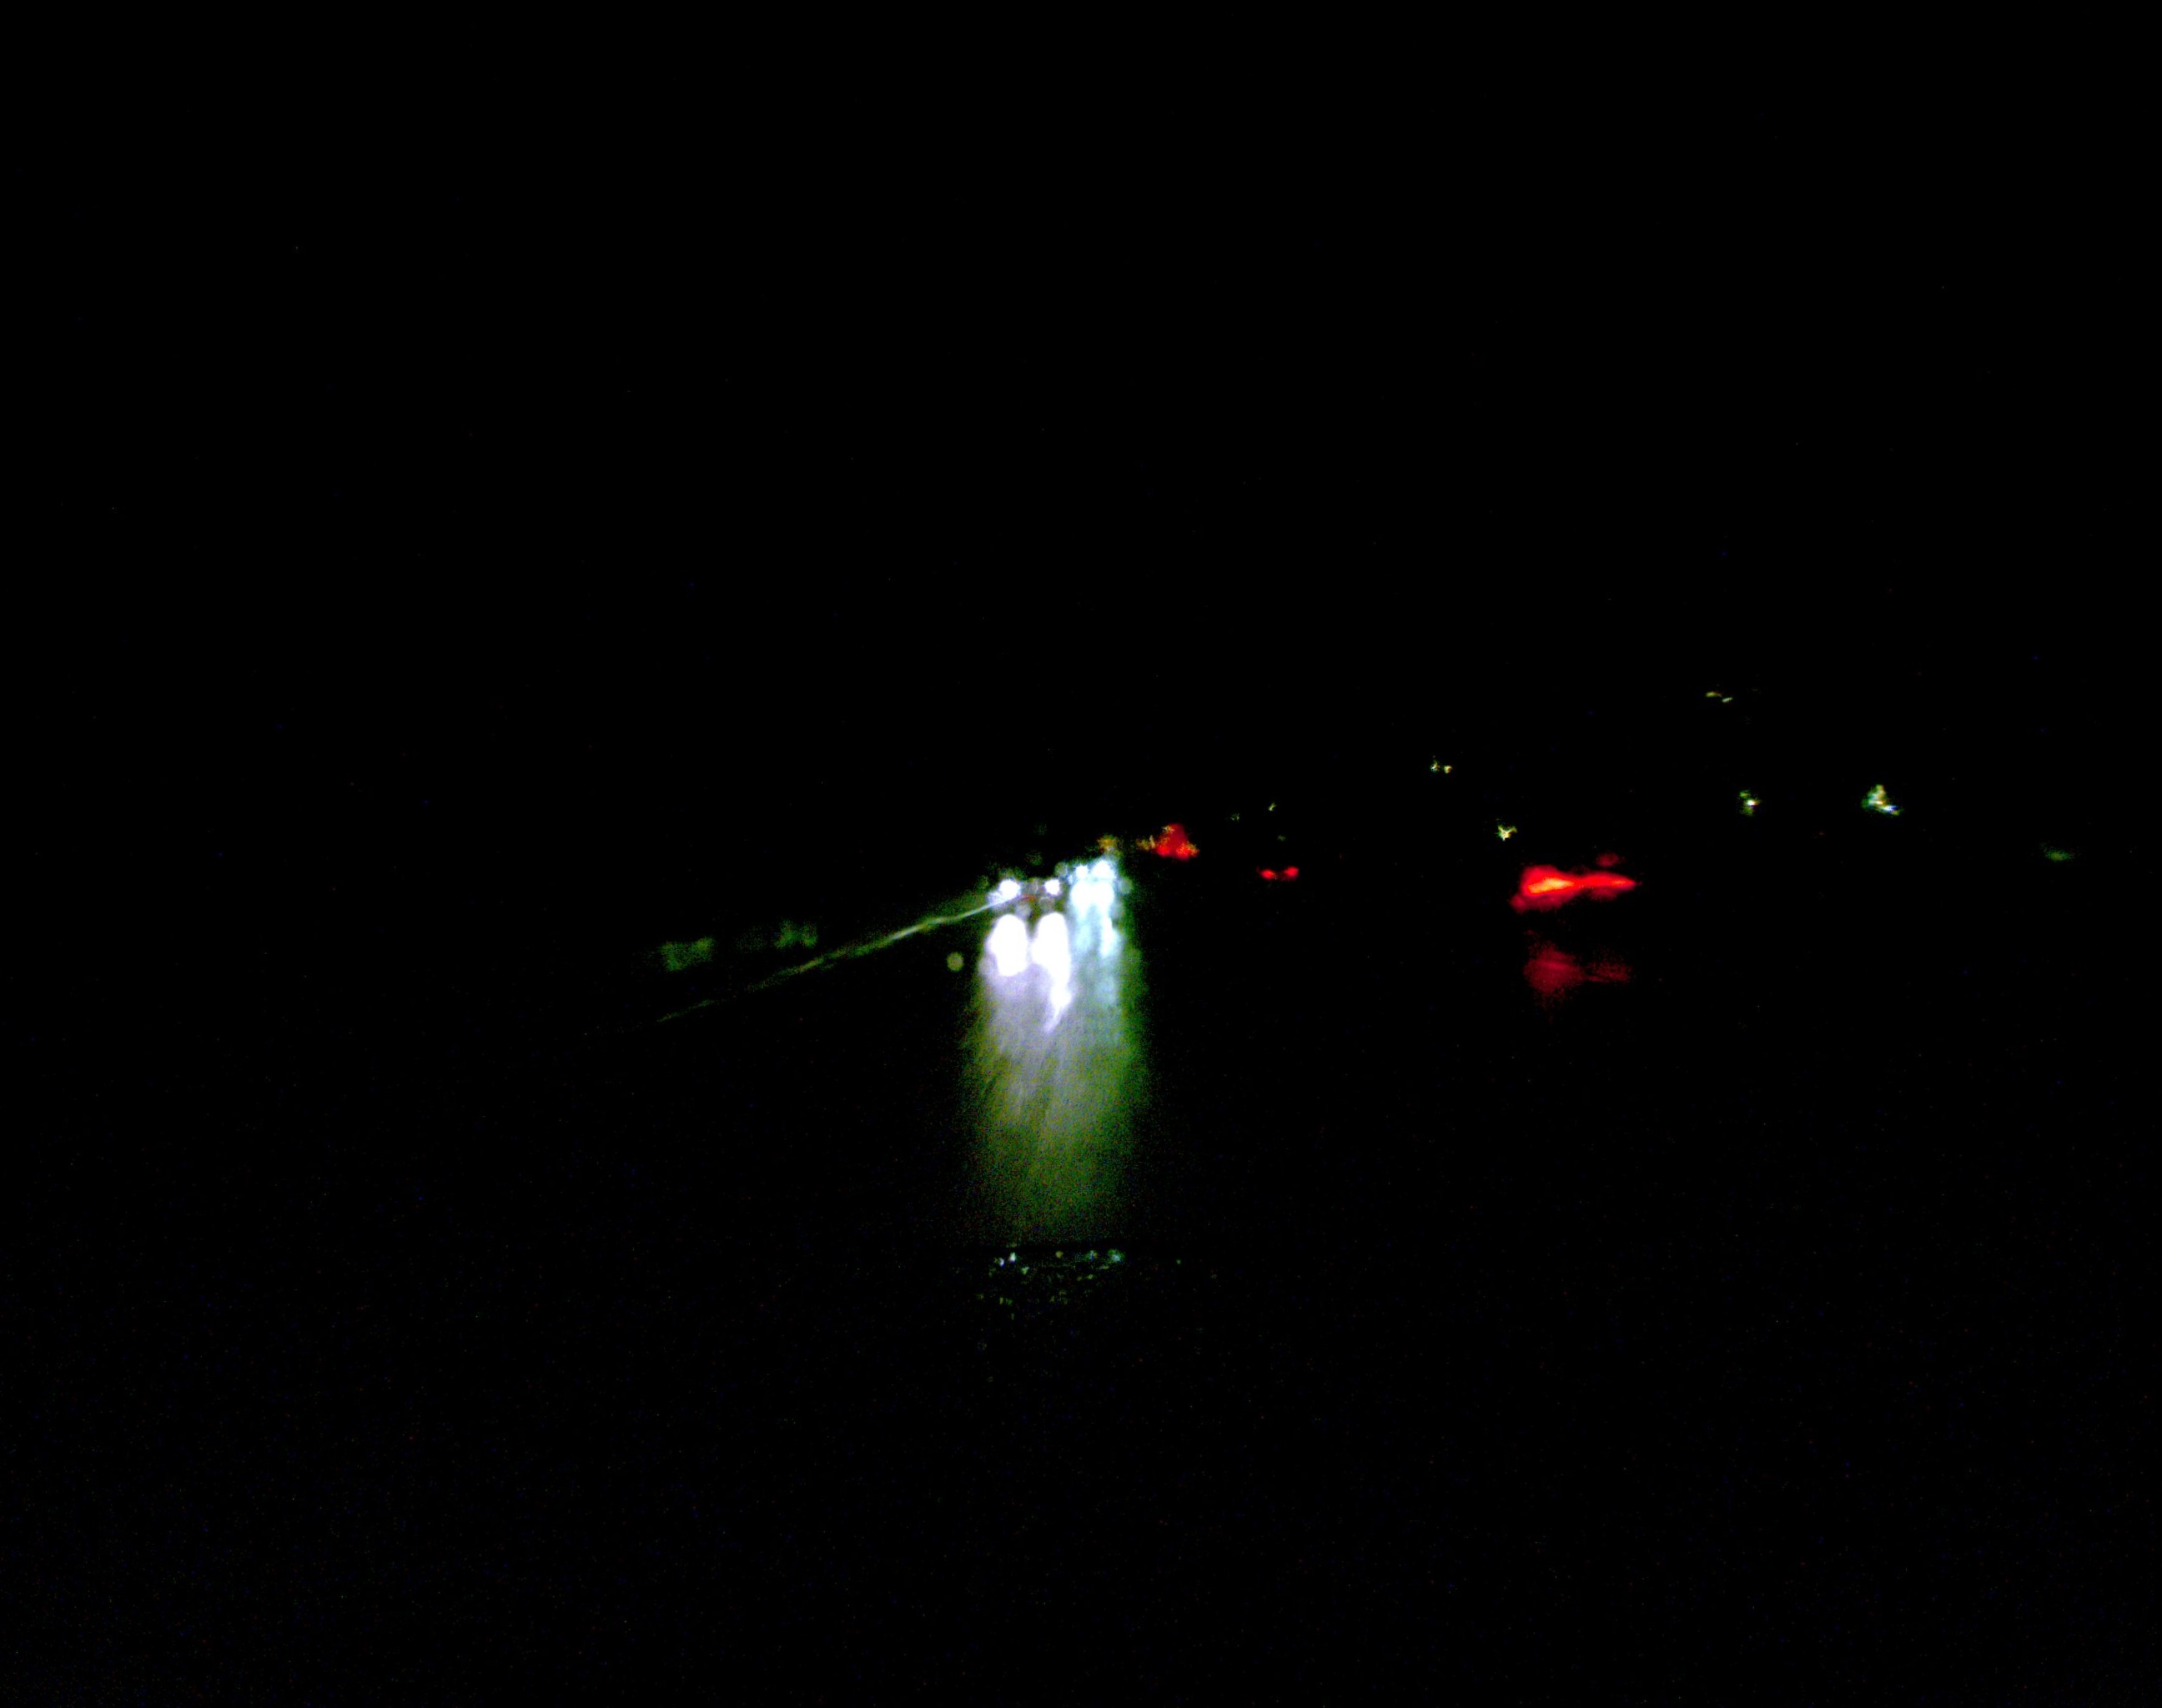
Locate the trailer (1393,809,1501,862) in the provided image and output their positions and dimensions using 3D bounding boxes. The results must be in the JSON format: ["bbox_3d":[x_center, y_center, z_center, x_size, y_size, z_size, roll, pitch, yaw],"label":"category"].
[{"bbox_3d":[37.155,-1.865,78.228,3.981,4.583,14.245,-6,1,1],"label":"trailer"}]

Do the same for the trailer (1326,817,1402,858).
[{"bbox_3d":[36.917,-2.159,100.246,3.981,4.583,15.512,-6,1,1],"label":"trailer"}]

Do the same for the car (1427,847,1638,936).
[{"bbox_3d":[9.860,0.731,17.119,1.766,1.632,4.651,-3,0,-2],"label":"car"}]

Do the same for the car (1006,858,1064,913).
[{"bbox_3d":[-1.500,0.998,26.303,1.791,1.684,4.218,-2,0,-1],"label":"car"}]

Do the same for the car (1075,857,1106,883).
[{"bbox_3d":[0.595,1.040,52.045,1.789,1.638,4.435,-3,0,-3],"label":"car"}]

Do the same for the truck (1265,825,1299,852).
[{"bbox_3d":[37.802,-2.998,143.459,3.447,4.583,10.211,-6,1,1],"label":"truck"}]

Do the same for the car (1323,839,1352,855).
[{"bbox_3d":[28.724,-0.752,85.222,1.791,1.684,4.218,-4,0,0],"label":"car"}]

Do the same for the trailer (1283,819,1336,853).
[{"bbox_3d":[37.727,-2.959,126.328,3.981,4.984,14.833,-6,1,1],"label":"trailer"}]

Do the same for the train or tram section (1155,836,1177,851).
[{"bbox_3d":[25.329,-3.201,228.835,2.703,3.793,37.140,-6,1,1],"label":"train or tram section"}]

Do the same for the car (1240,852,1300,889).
[{"bbox_3d":[9.263,0.776,37.526,1.806,1.579,4.030,-3,1,-2],"label":"car"}]
